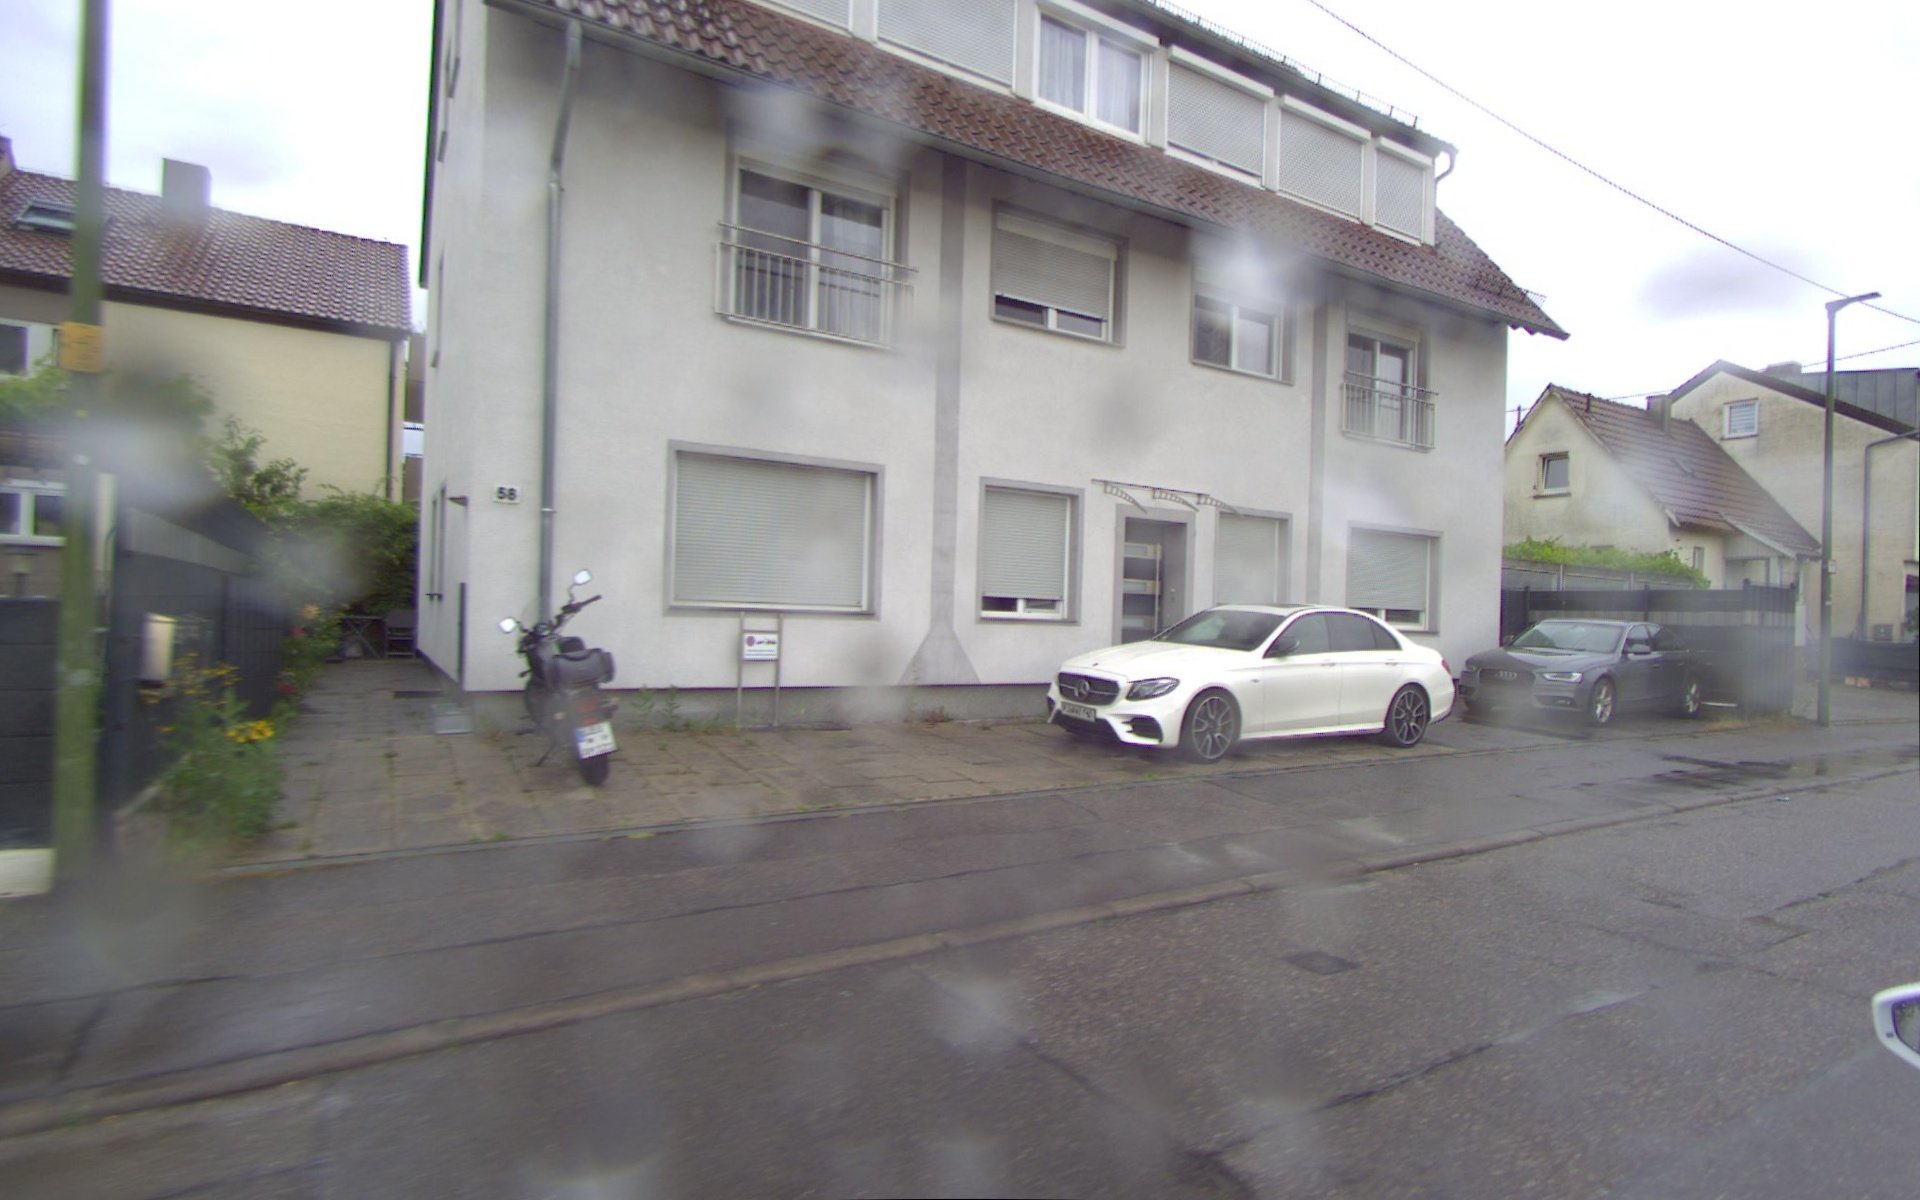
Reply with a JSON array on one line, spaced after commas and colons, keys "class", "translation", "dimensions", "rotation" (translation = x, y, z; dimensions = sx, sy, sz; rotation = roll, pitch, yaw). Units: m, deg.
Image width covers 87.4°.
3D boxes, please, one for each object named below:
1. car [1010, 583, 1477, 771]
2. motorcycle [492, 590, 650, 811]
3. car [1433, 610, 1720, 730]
[{"class": "car", "translation": [3.103, 0.689, 10.678], "dimensions": [4.840, 1.530, 1.983], "rotation": [1, 3, -31]}, {"class": "motorcycle", "translation": [-2.944, 0.619, 7.422], "dimensions": [0.727, 1.290, 2.351], "rotation": [1, 2, -30]}, {"class": "car", "translation": [9.014, 0.910, 14.563], "dimensions": [4.522, 1.387, 1.815], "rotation": [1, 3, -34]}]
